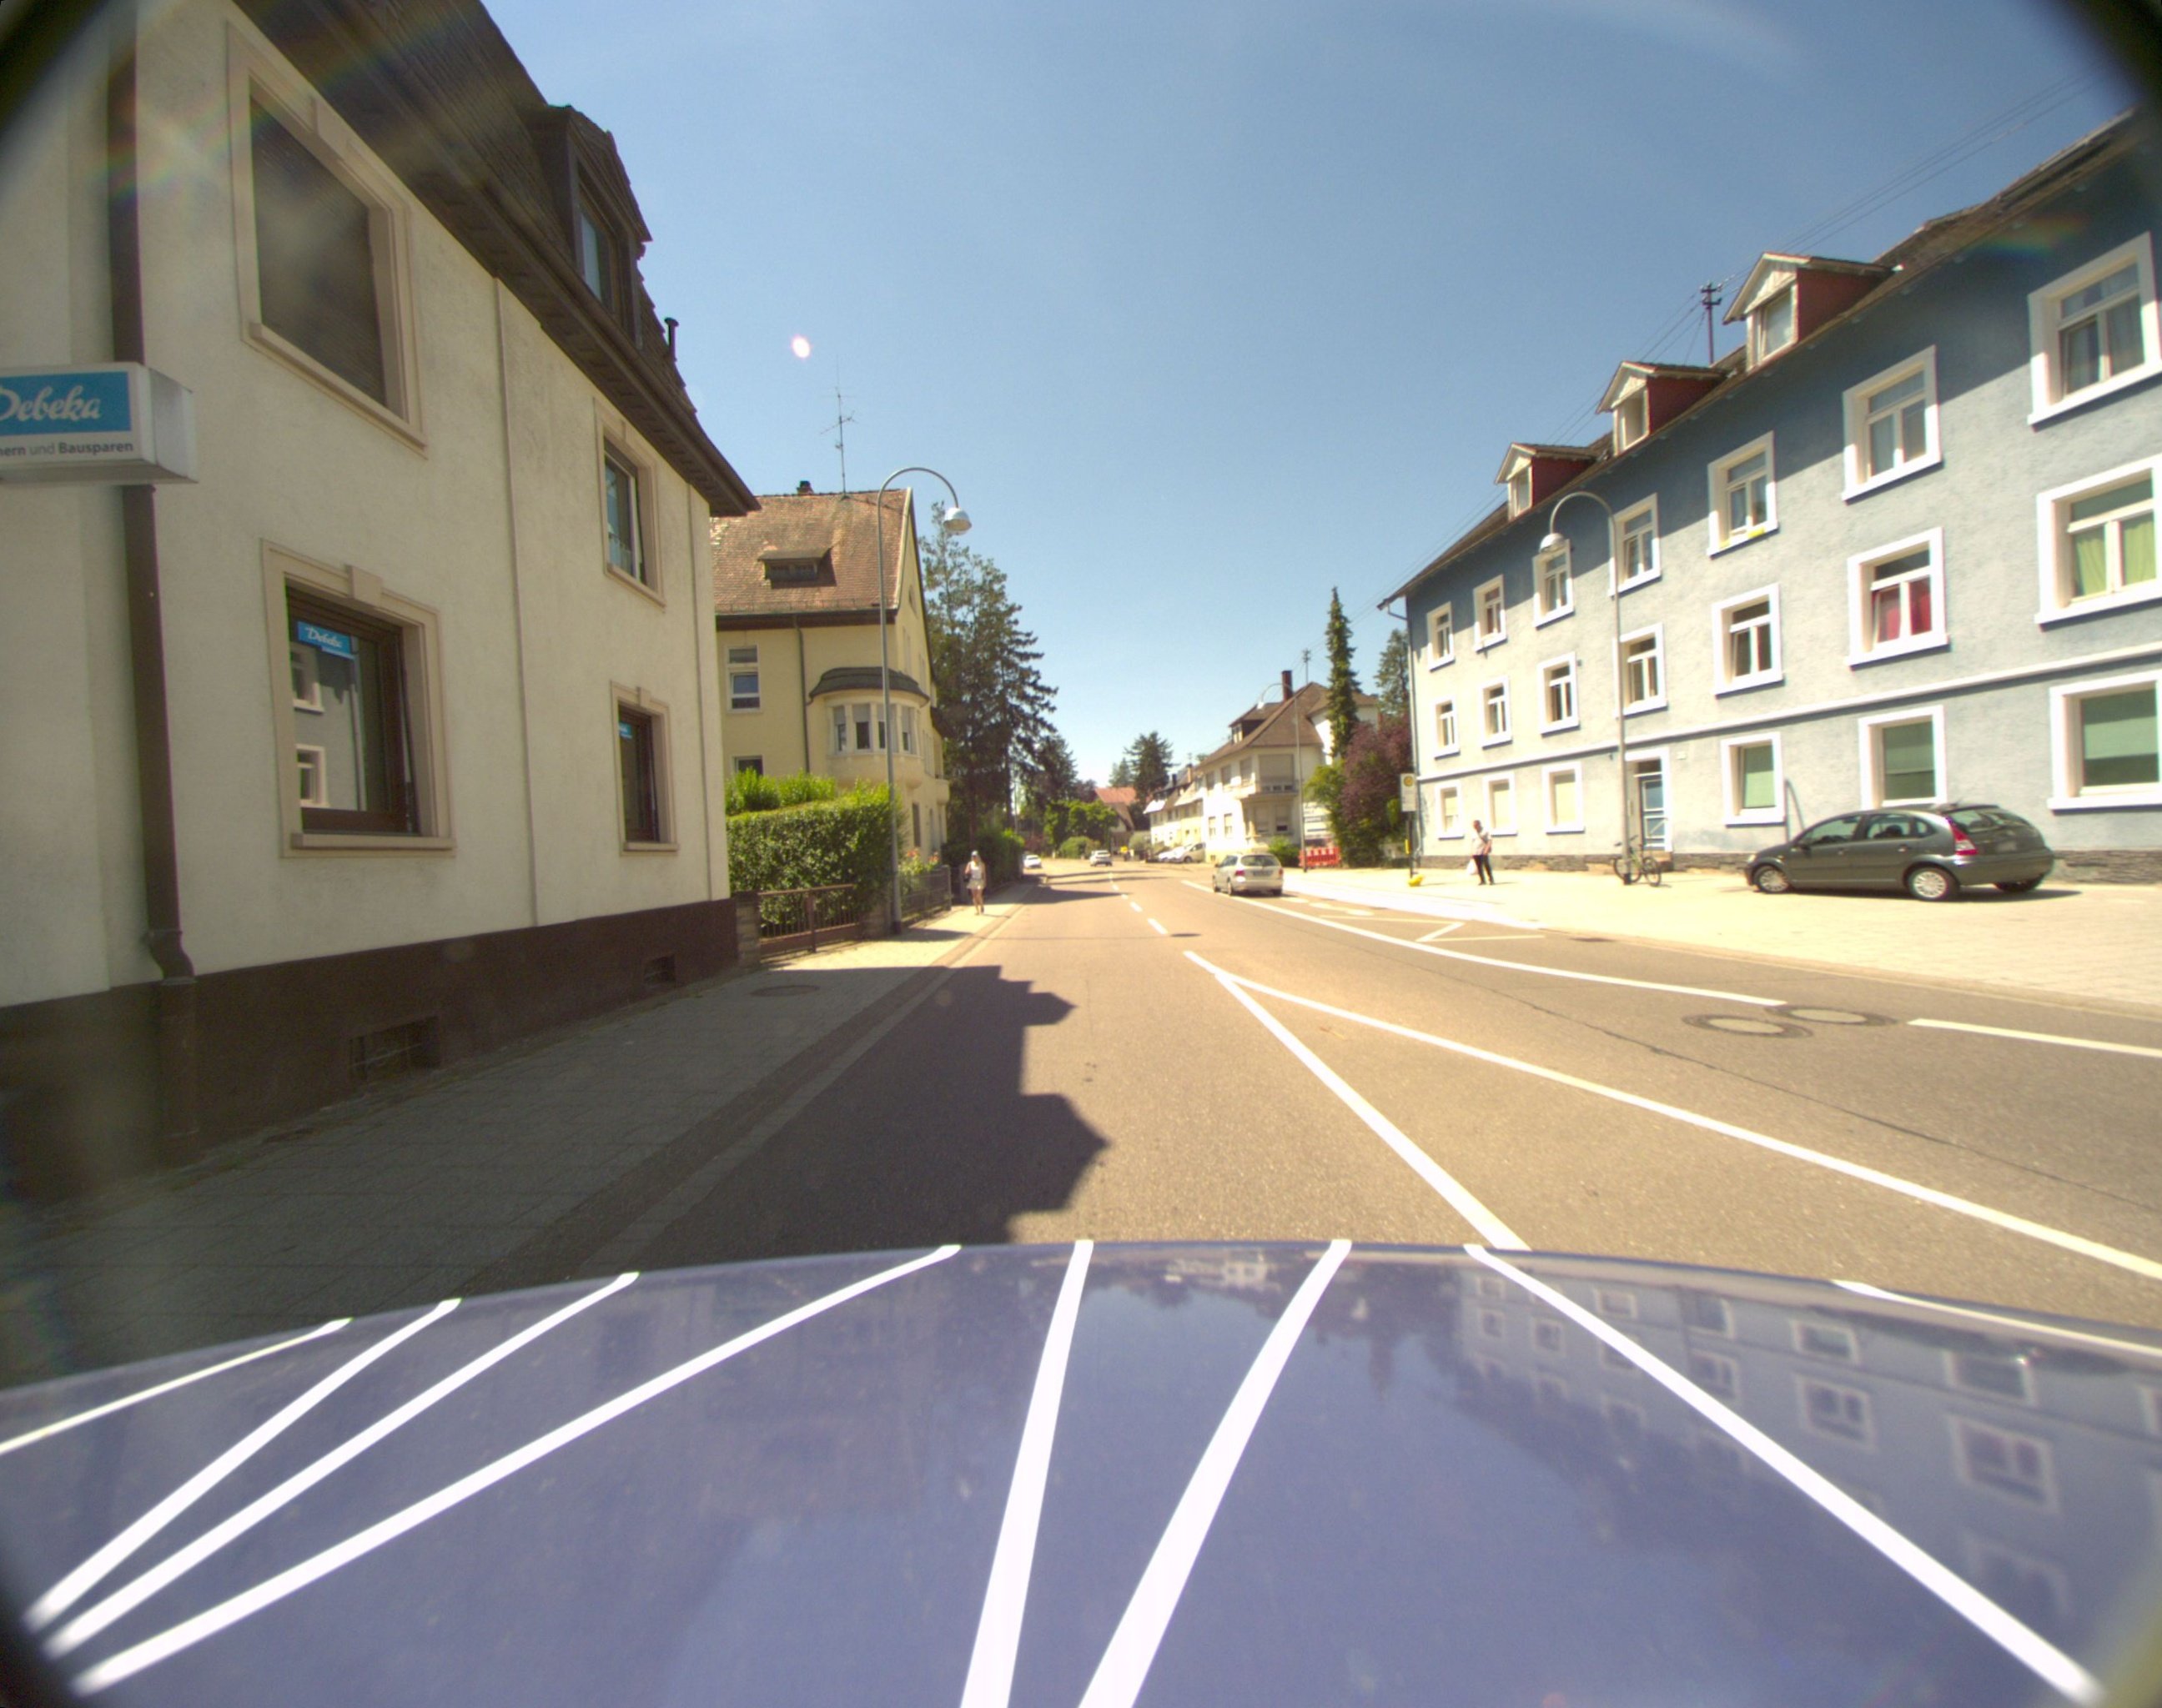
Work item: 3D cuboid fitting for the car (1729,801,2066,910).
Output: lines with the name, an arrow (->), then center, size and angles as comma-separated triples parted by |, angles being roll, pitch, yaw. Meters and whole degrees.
car -> 13.738, -0.042, 13.153 | 1.582, 1.526, 3.772 | -3, 2, -6

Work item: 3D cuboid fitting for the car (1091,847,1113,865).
car -> 2.024, 0.137, 74.780 | 1.825, 1.521, 3.948 | -3, 2, -1

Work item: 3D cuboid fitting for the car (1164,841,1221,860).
car -> 9.668, -0.288, 66.078 | 4.484, 1.486, 1.975 | -1, 0, -5

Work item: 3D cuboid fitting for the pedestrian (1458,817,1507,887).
pedestrian -> 11.215, -0.065, 21.236 | 0.758, 1.838, 0.771 | -6, 2, -8

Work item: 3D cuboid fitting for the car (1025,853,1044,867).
car -> -5.162, 0.648, 84.649 | 1.689, 1.446, 3.736 | -5, 1, -8

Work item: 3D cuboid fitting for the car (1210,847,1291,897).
car -> 5.799, 0.653, 26.483 | 1.842, 1.520, 4.395 | 2, -2, 1

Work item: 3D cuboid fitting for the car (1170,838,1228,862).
car -> 9.890, -0.342, 63.638 | 4.367, 1.866, 1.848 | -1, 0, -13

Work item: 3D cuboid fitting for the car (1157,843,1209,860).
car -> 9.289, -0.211, 69.137 | 4.264, 1.486, 1.880 | -1, 0, 25

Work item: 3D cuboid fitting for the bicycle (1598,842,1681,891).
bicycle -> 12.759, 0.253, 17.426 | 0.497, 0.972, 1.973 | -7, 1, 4

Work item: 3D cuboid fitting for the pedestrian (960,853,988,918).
pedestrian -> -2.773, 0.797, 19.800 | 0.625, 1.634, 0.771 | 2, 1, -4
